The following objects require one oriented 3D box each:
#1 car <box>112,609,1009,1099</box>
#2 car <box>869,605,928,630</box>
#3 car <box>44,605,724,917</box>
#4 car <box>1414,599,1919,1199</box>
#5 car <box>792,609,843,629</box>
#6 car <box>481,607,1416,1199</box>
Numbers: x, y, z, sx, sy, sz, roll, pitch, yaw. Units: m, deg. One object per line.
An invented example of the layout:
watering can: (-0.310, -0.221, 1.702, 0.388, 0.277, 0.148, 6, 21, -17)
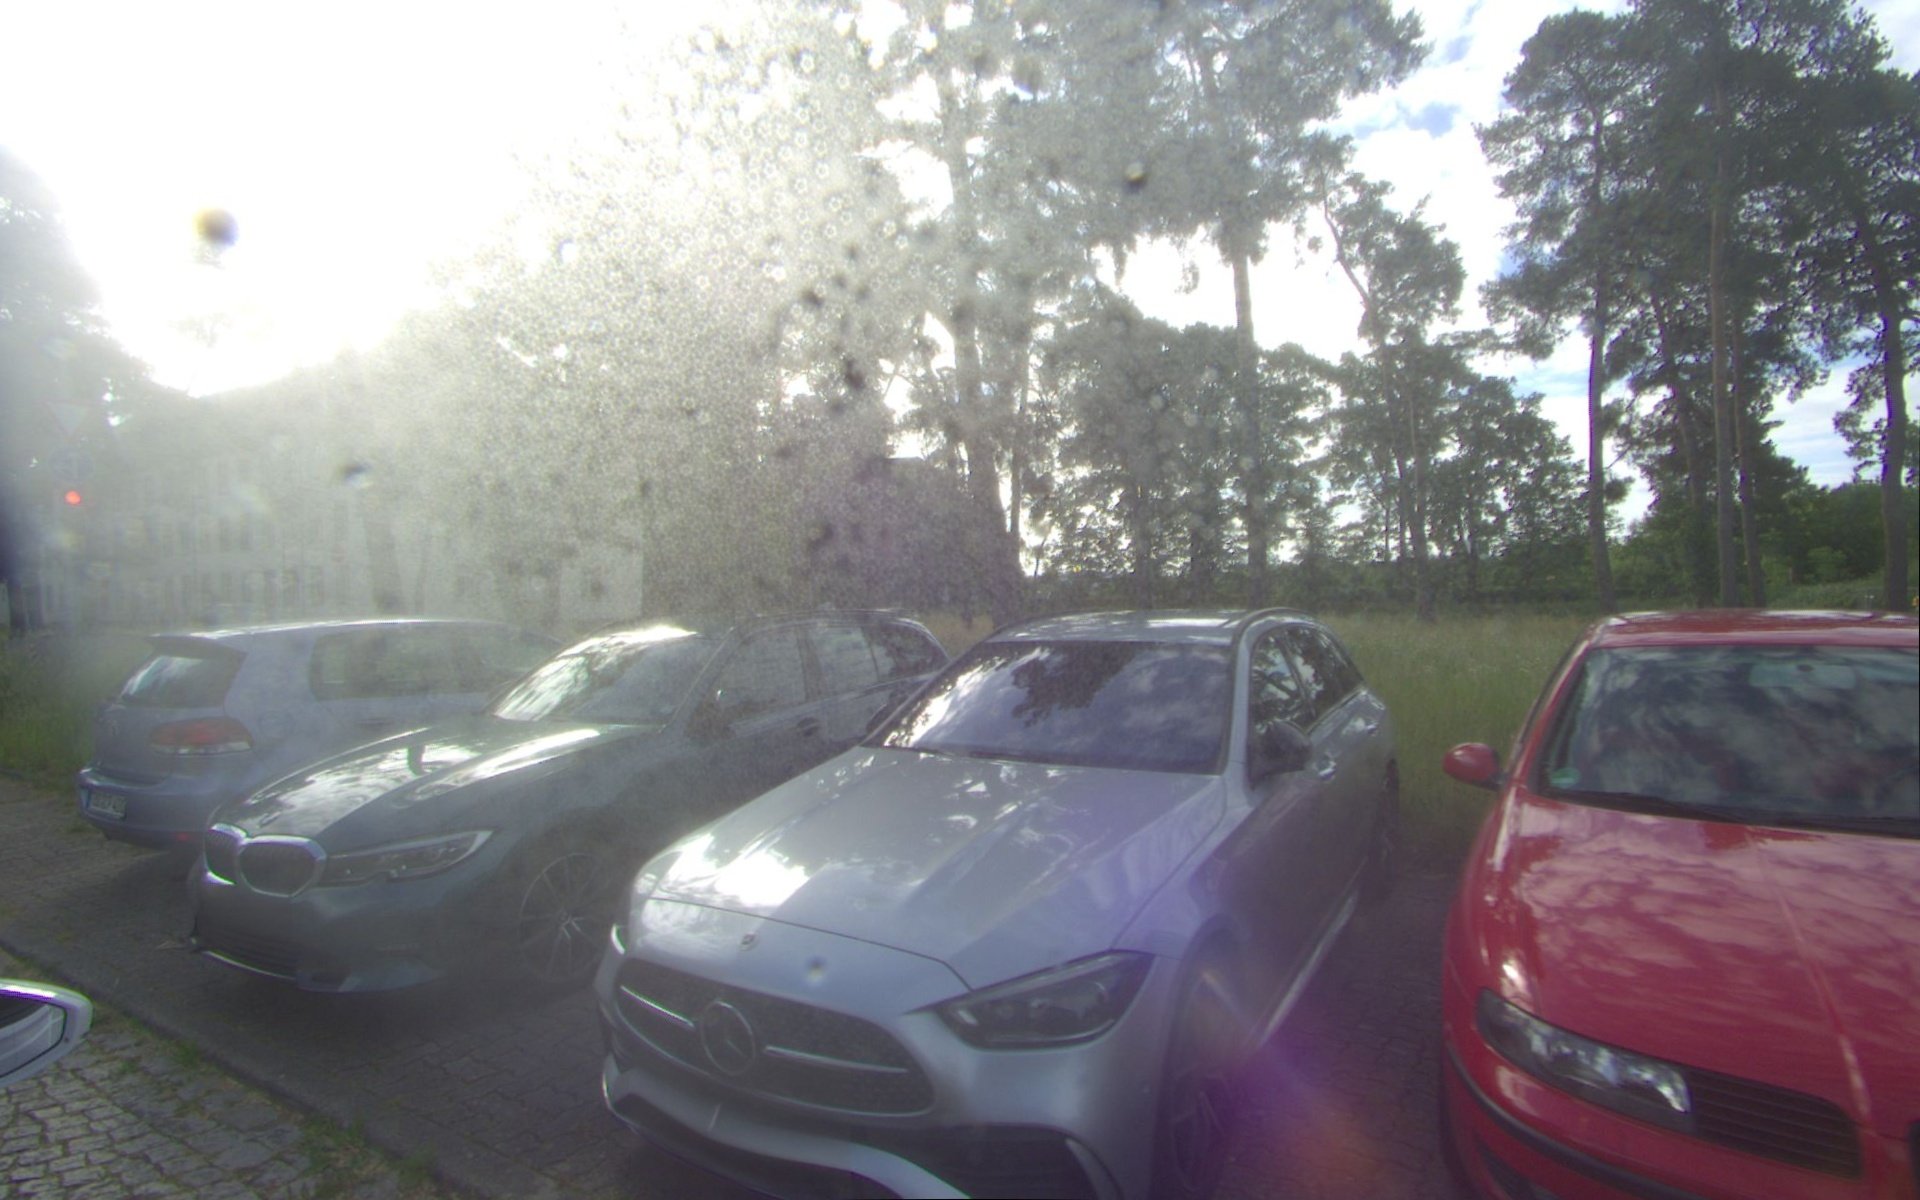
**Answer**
car: (-1.544, 0.830, 5.570, 1.780, 1.503, 4.506, 0, 0, 30)
car: (-4.245, 1.210, 68.910, 3.922, 1.622, 1.999, -1, 0, -5)
car: (-3.646, 0.822, 7.056, 1.618, 1.490, 3.834, 0, 1, 32)
car: (2.693, 0.729, 3.169, 1.695, 1.442, 4.098, 0, 0, 33)
car: (-10.563, 1.456, 74.350, 1.541, 1.416, 3.980, -1, -2, 32)
car: (0.609, 0.803, 4.027, 1.741, 1.448, 4.317, 0, 1, 31)
